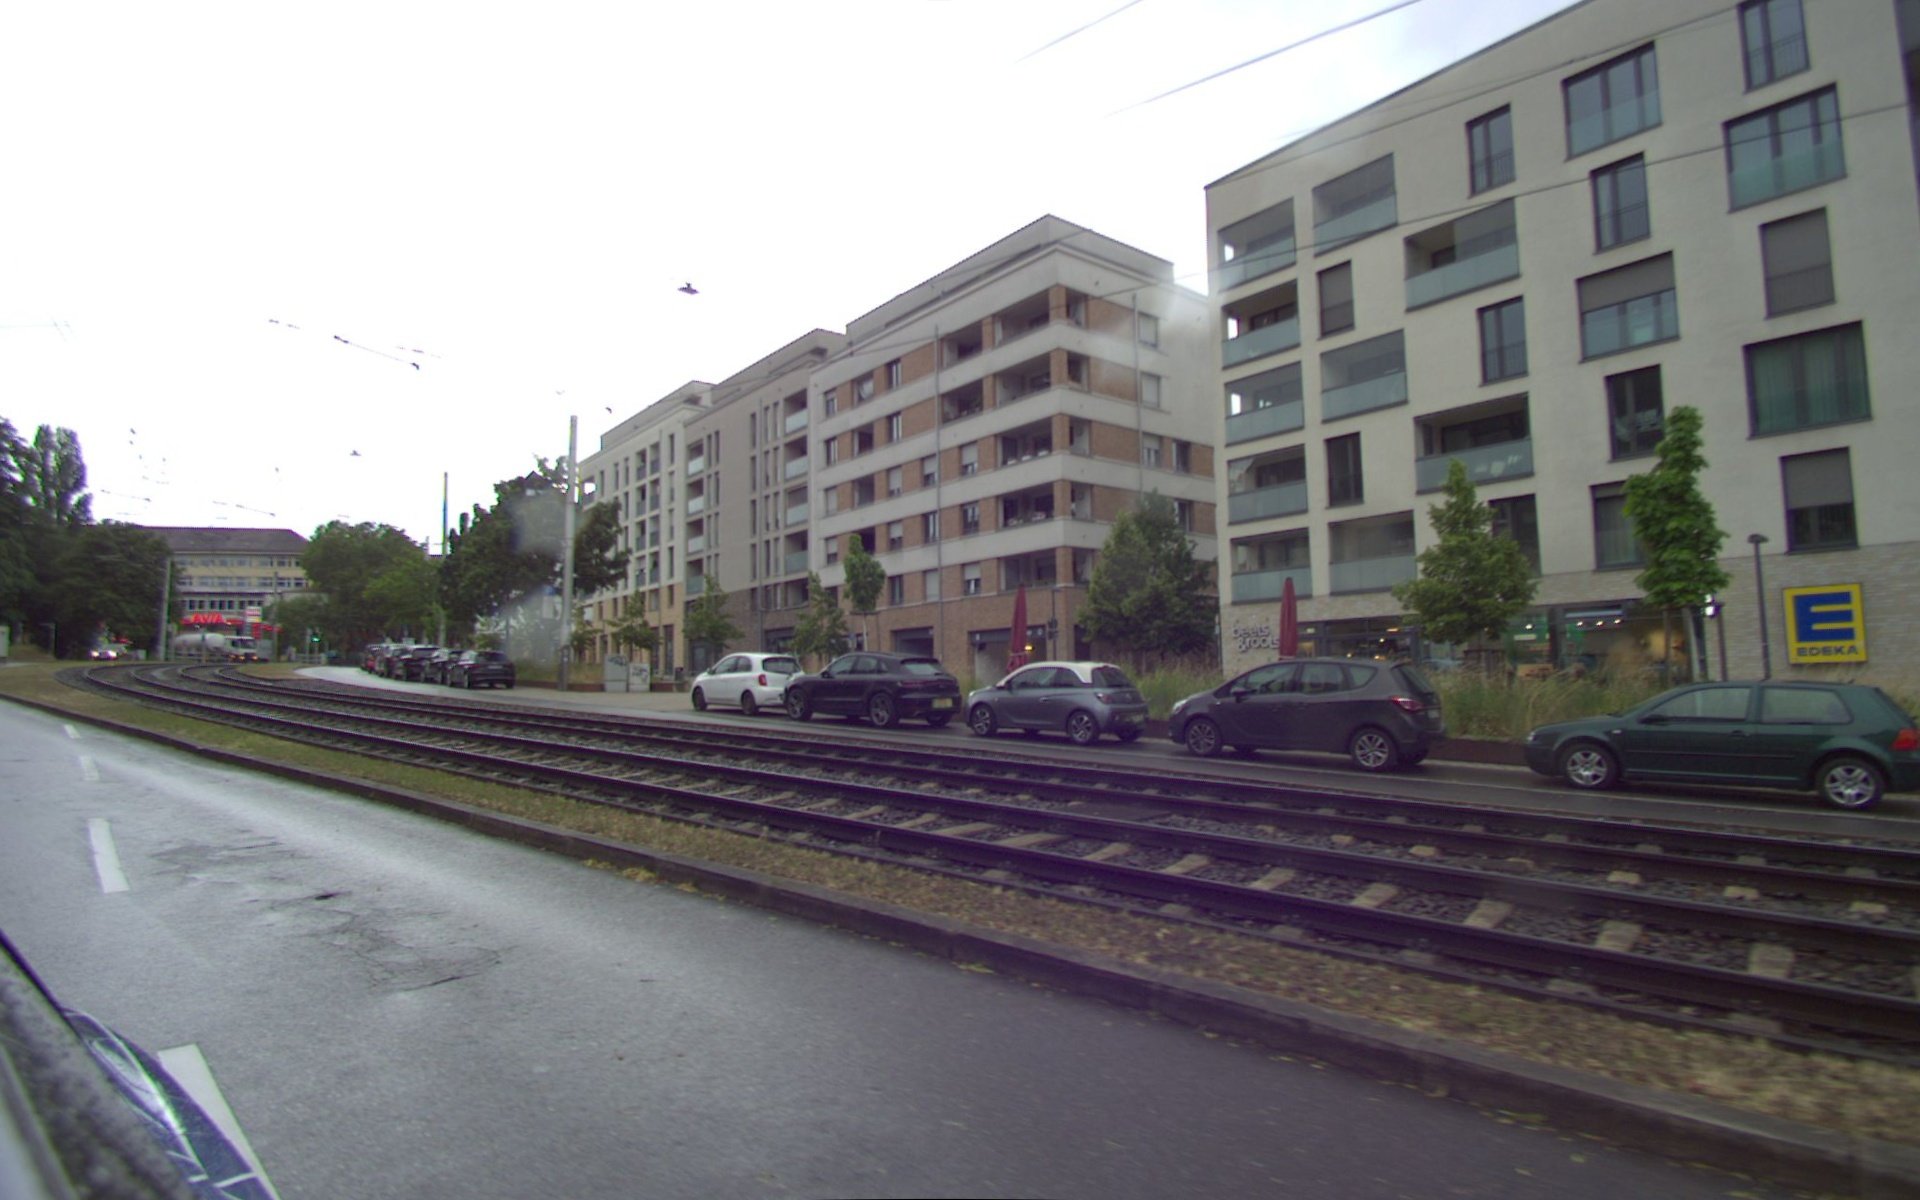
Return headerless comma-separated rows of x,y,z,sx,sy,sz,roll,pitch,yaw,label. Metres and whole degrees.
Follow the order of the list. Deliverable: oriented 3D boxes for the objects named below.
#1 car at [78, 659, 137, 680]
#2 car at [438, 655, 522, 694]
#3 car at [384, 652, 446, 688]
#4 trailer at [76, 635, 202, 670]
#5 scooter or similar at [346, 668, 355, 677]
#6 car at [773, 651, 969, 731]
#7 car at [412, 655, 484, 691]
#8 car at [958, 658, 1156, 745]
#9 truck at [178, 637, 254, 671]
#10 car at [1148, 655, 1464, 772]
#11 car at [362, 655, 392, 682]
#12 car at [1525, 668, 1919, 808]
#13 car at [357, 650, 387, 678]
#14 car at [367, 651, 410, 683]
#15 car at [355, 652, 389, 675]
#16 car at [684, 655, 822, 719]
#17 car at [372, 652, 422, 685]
-66.207,5.395,78.665,1.860,1.502,3.858,2,-4,-12,car
-18.922,2.890,39.789,1.941,1.442,4.205,3,-4,-40,car
-26.016,3.315,48.268,1.779,1.596,4.707,3,-4,-38,car
-85.286,5.478,105.394,9.665,3.422,2.822,2,-4,-22,trailer
-87.586,10.363,145.454,0.395,1.202,1.363,1,-2,-2,scooter or similar
-2.045,1.947,22.356,4.404,1.573,1.747,-2,-5,42,car
-22.497,3.152,44.407,1.716,1.501,4.262,3,-4,-42,car
1.767,1.846,18.993,3.449,1.446,1.532,-2,-5,42,car
-79.390,5.837,108.115,6.019,3.426,2.846,3,-5,-27,truck
5.228,1.639,15.670,4.316,1.525,1.701,-2,-4,42,car
-35.284,4.138,61.313,1.449,1.543,2.940,3,-4,-29,car
9.309,1.563,12.303,4.008,1.373,1.532,-2,-3,42,car
-40.479,4.399,69.677,1.559,1.873,4.344,1,-3,-33,car
-32.549,3.789,57.619,1.641,1.761,4.267,3,-4,-35,car
-42.939,4.618,73.893,1.966,1.617,4.227,0,-3,-32,car
-5.317,2.176,25.737,1.744,1.490,3.739,5,-5,-42,car
-29.241,3.537,52.494,1.708,1.657,4.542,3,-4,-35,car
